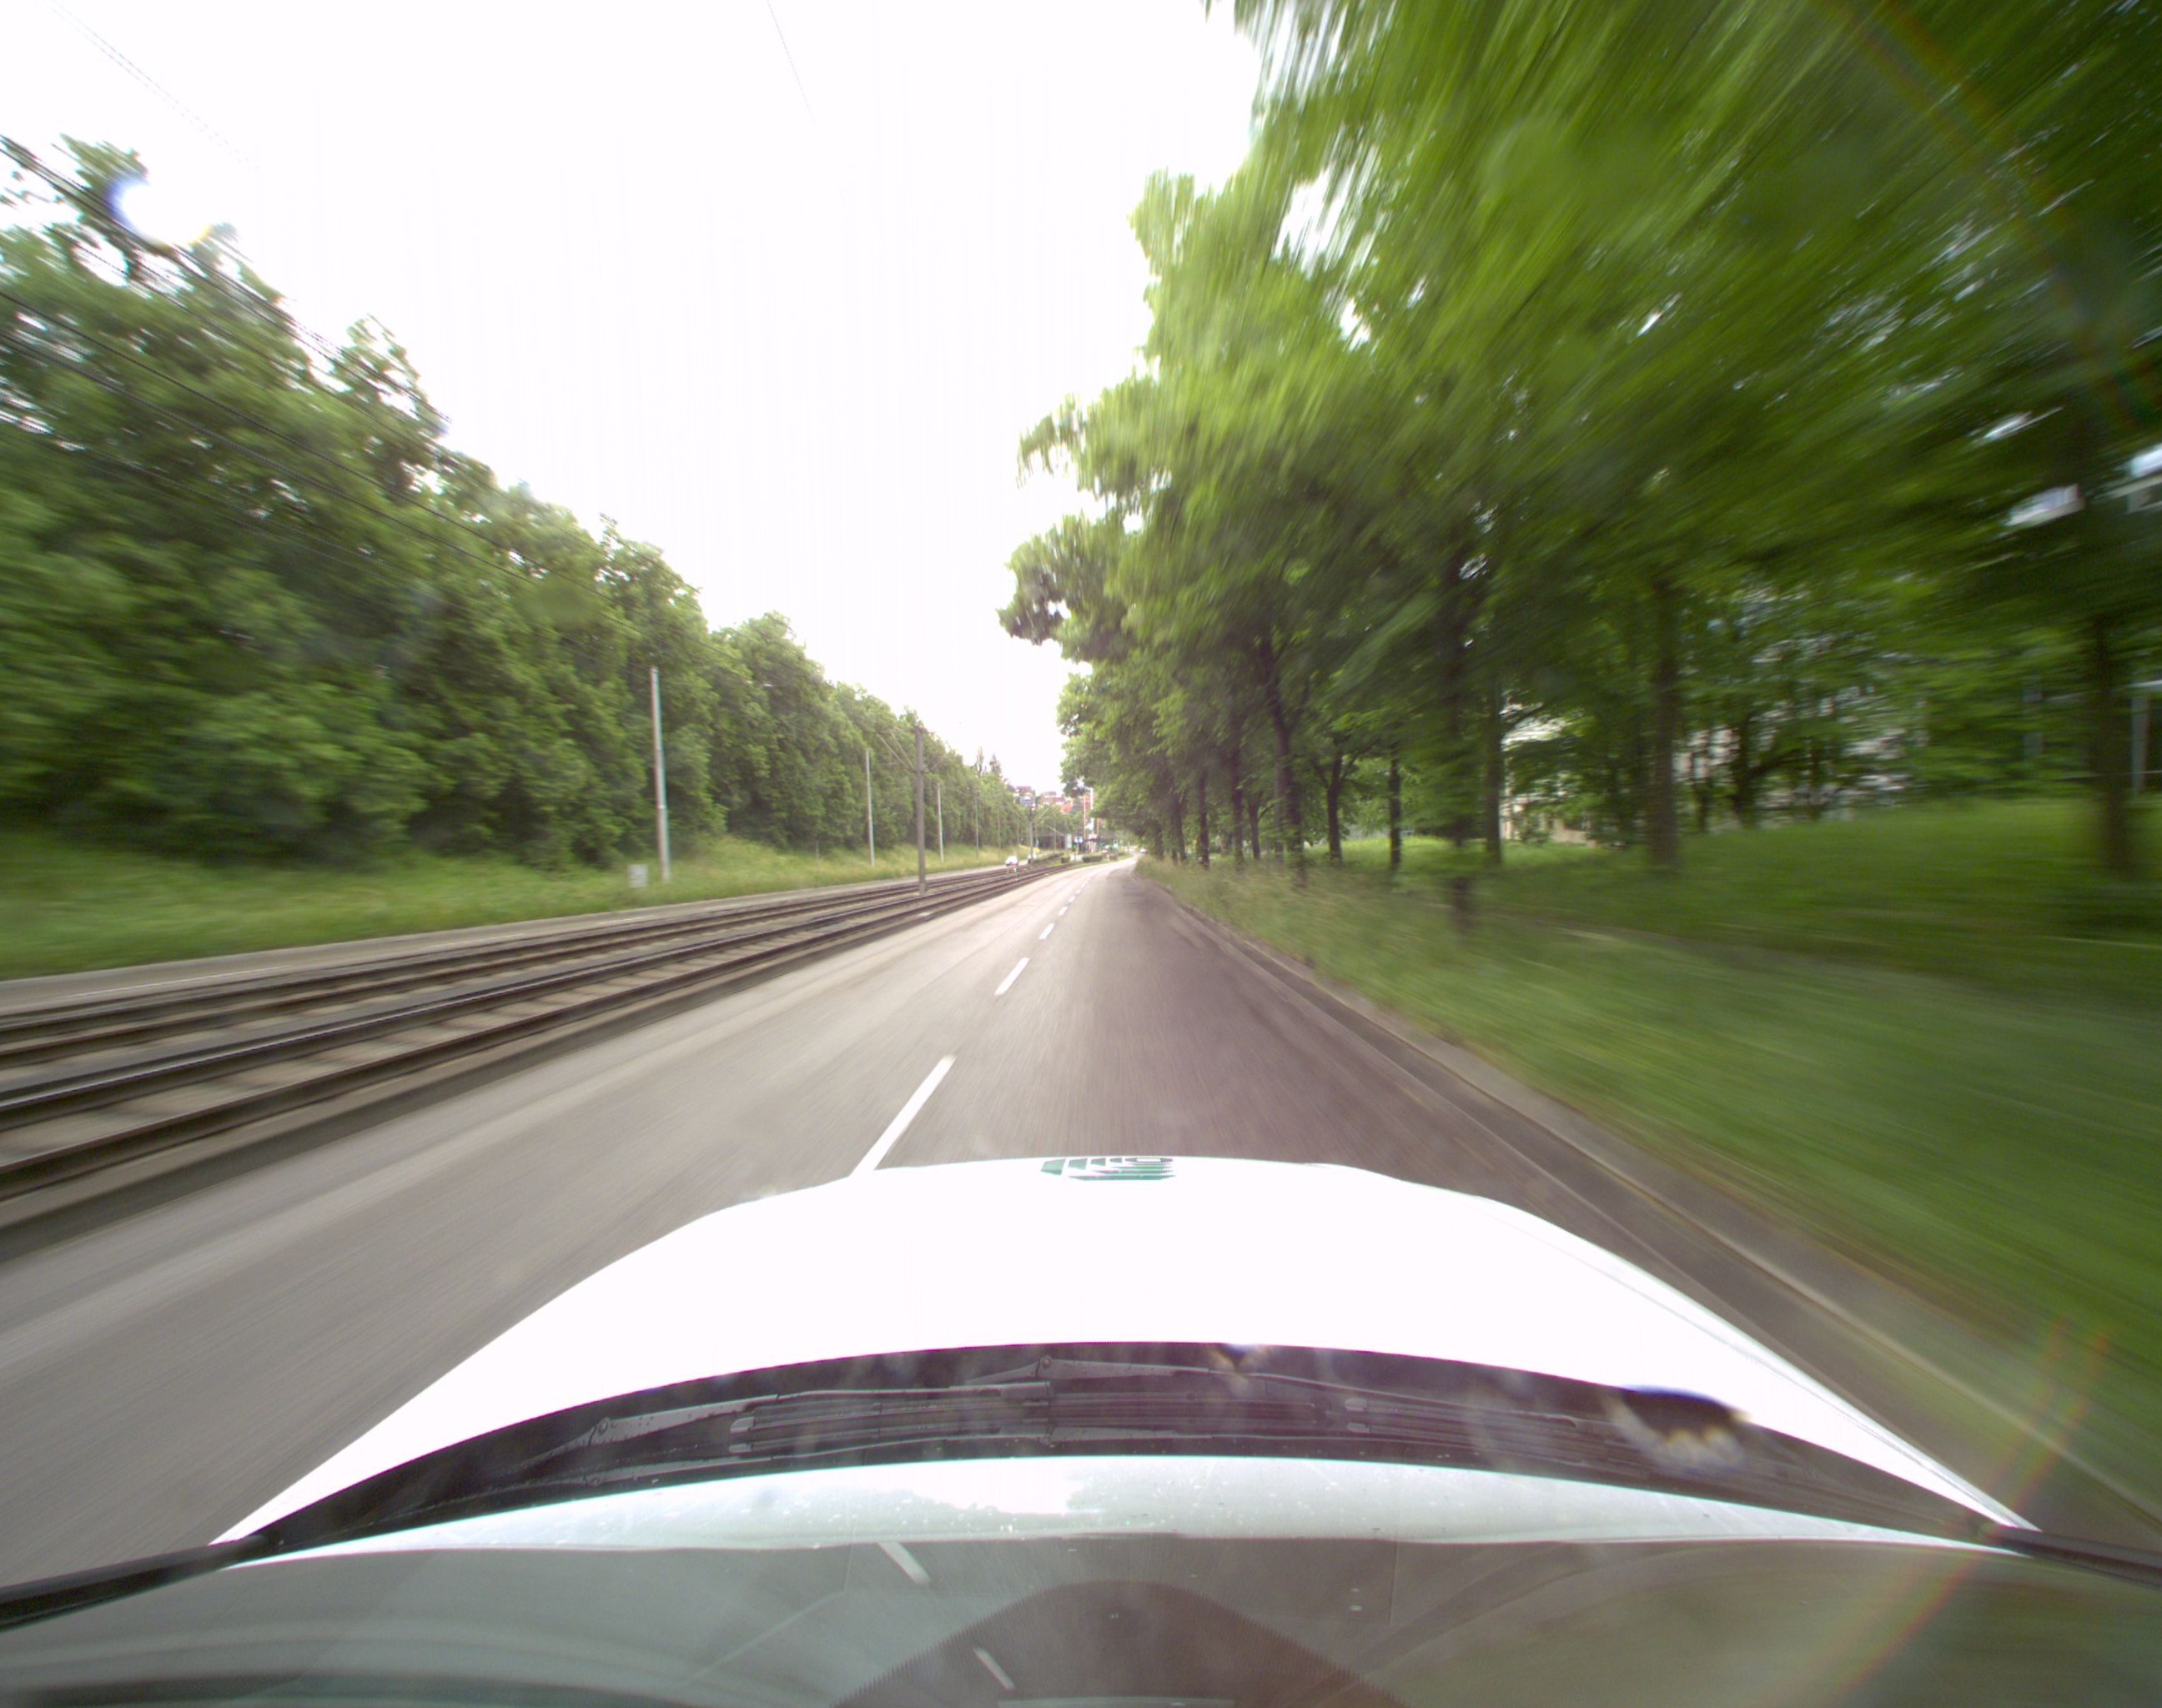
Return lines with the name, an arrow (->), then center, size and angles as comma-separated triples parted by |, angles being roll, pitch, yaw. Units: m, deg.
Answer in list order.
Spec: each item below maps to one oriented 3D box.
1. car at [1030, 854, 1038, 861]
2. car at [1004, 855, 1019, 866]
car -> -11.277, 0.757, 195.614 | 1.779, 1.552, 3.960 | -3, 0, 0
car -> -10.549, 0.999, 123.924 | 1.664, 1.443, 4.027 | -4, 0, 1
